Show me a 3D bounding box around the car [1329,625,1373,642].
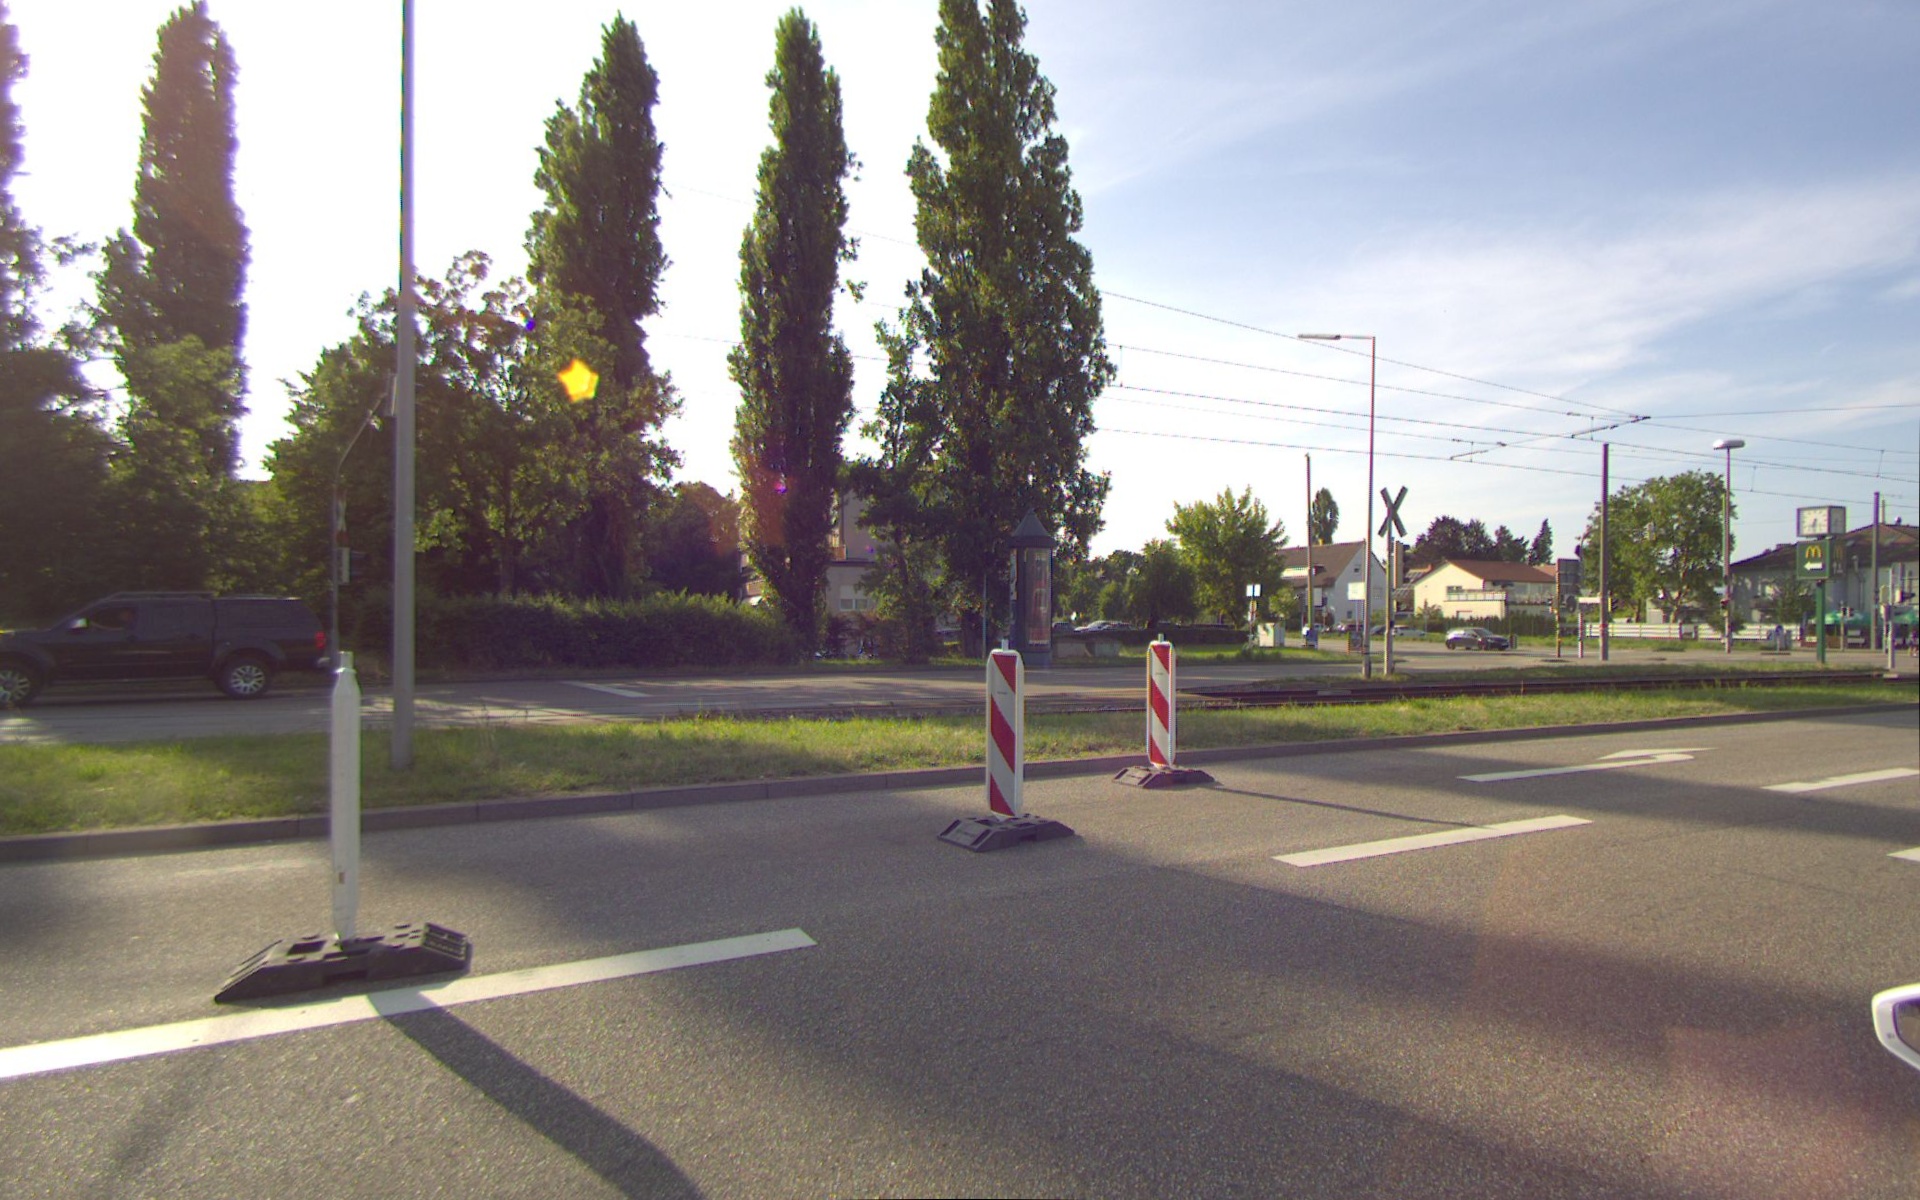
[{"bbox_3d":[37.441,3.198,96.287,1.967,1.505,3.987,1,-1,-16],"label":"car"}]

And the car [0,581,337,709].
[{"bbox_3d":[-14.559,0.772,18.174,5.319,2.040,1.975,1,-2,-43],"label":"car"}]

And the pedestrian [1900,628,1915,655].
[{"bbox_3d":[56.699,2.474,60.093,0.532,1.620,0.510,1,-1,-26],"label":"pedestrian"}]

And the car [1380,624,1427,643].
[{"bbox_3d":[44.650,3.350,101.126,4.155,1.706,1.991,2,0,-20],"label":"car"}]

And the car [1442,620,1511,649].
[{"bbox_3d":[33.323,2.213,64.917,1.498,1.816,3.977,1,-1,-24],"label":"car"}]
